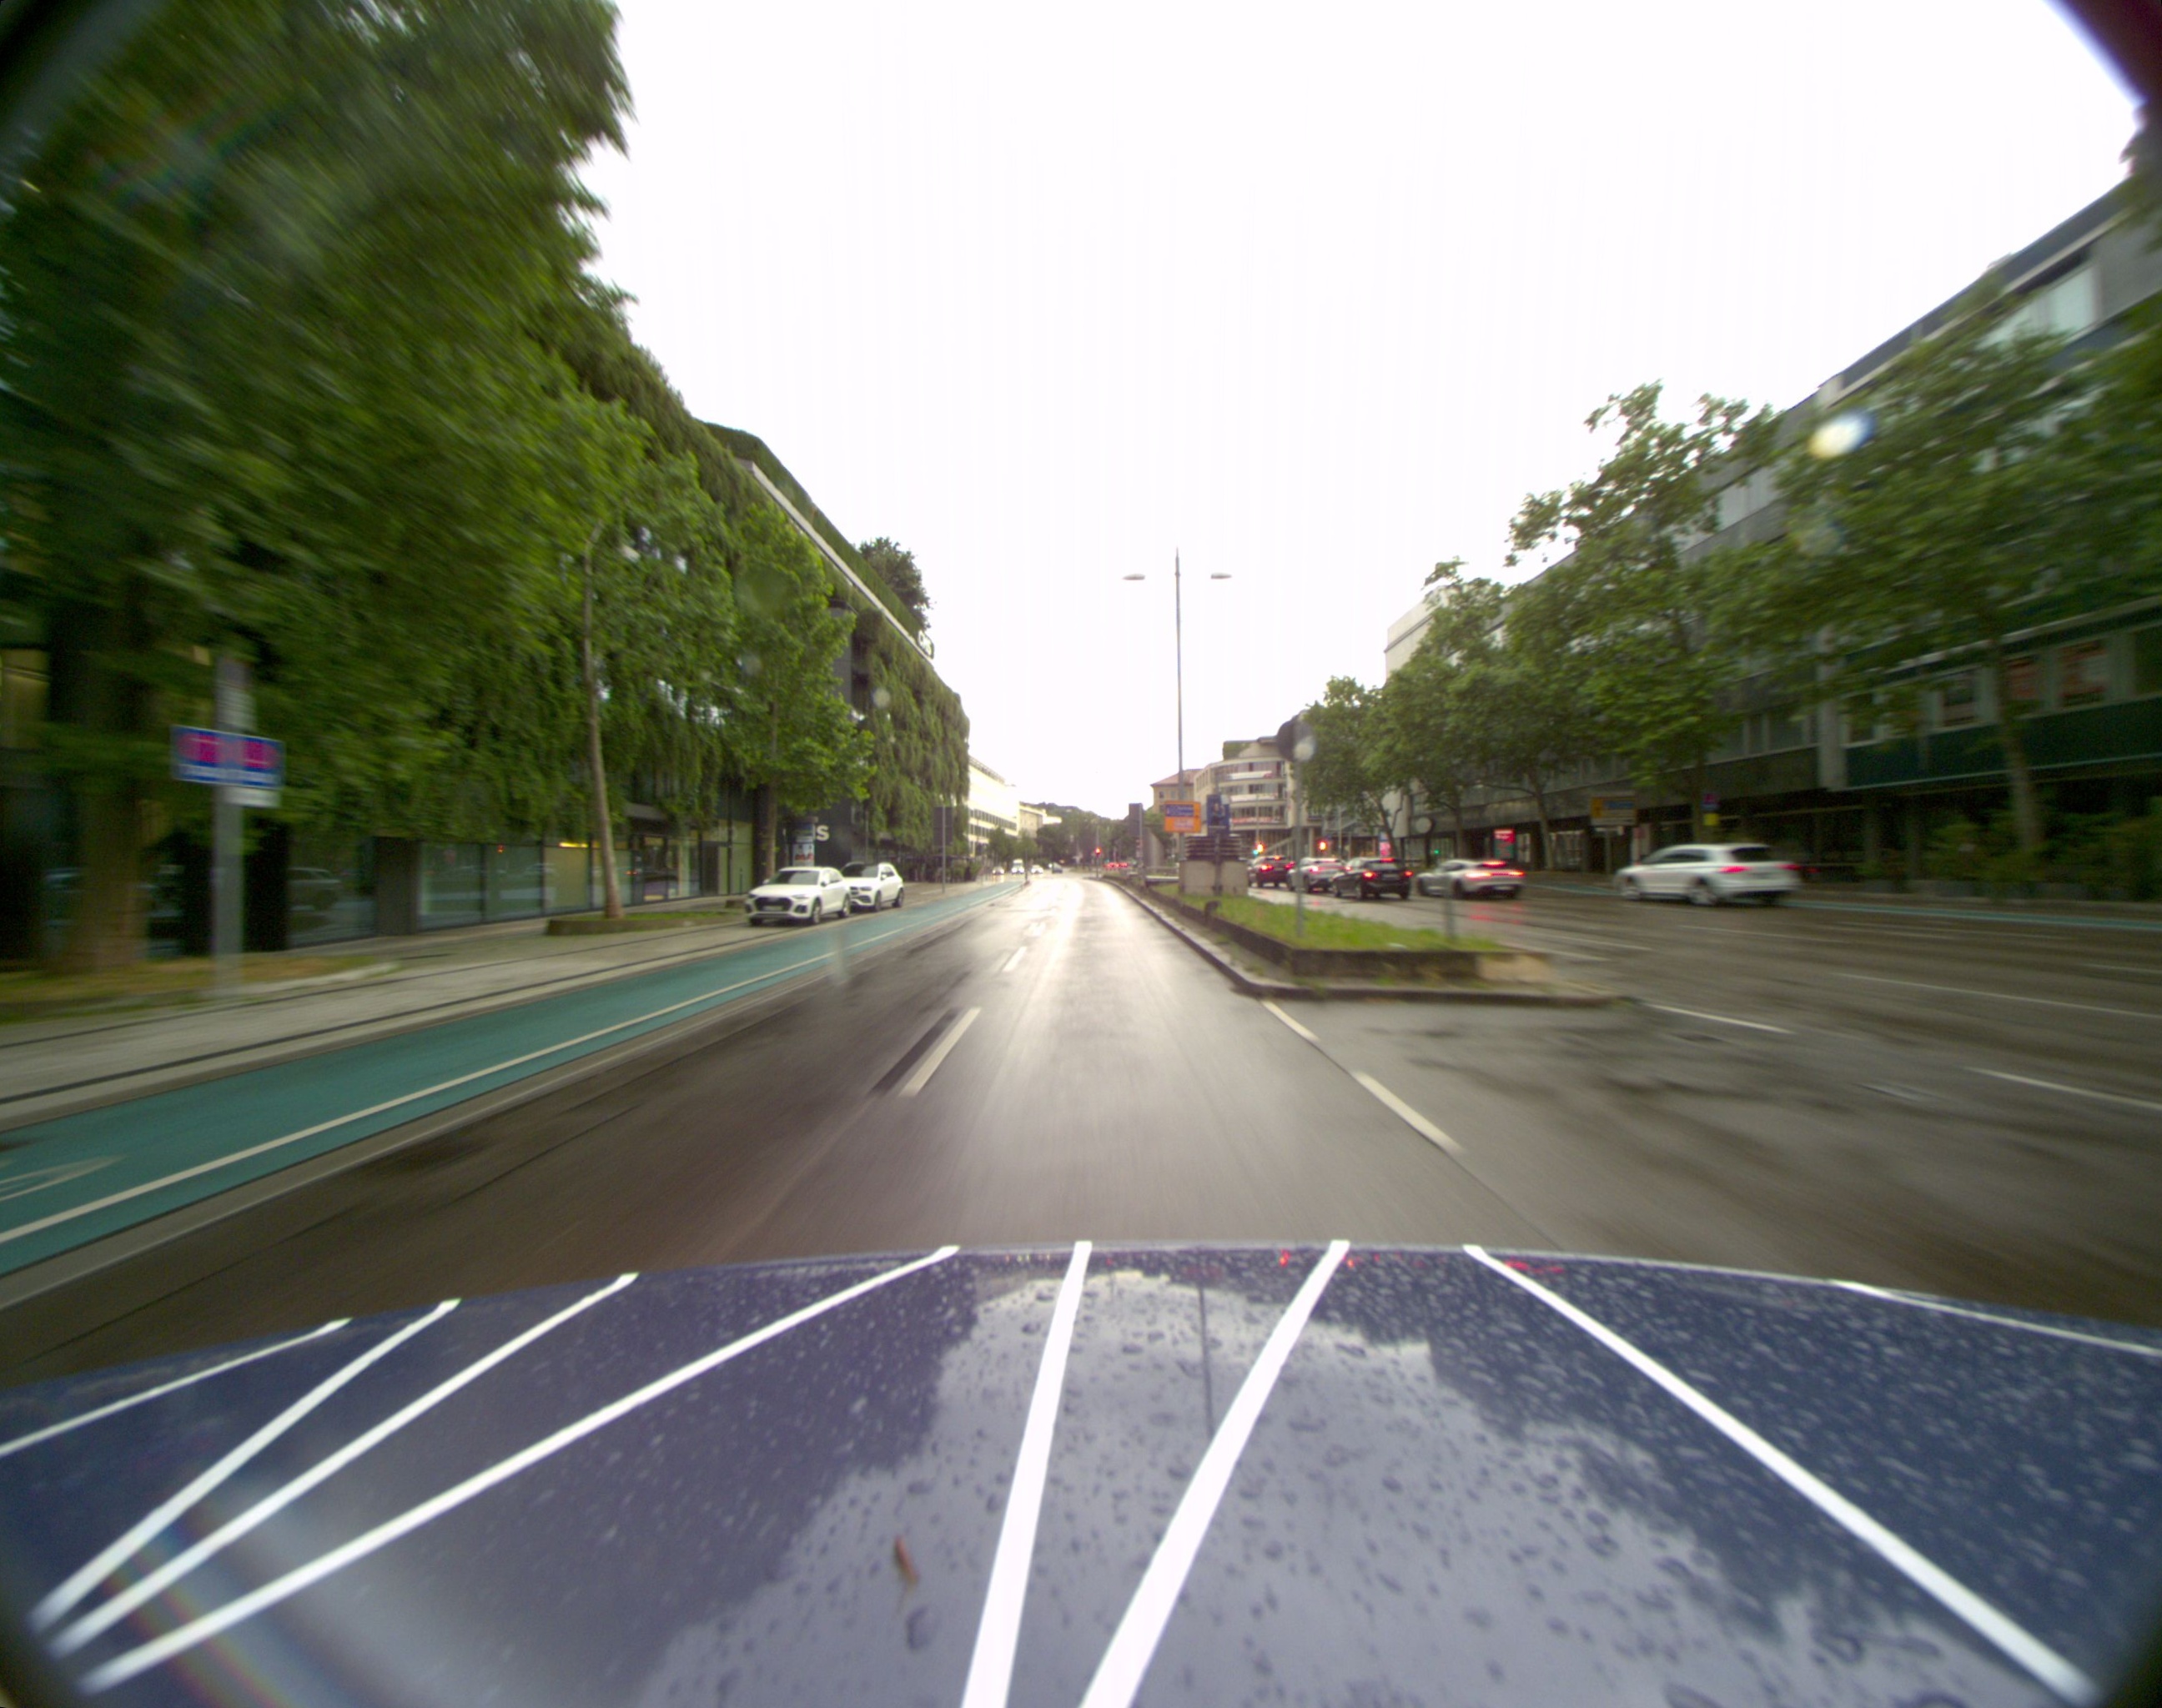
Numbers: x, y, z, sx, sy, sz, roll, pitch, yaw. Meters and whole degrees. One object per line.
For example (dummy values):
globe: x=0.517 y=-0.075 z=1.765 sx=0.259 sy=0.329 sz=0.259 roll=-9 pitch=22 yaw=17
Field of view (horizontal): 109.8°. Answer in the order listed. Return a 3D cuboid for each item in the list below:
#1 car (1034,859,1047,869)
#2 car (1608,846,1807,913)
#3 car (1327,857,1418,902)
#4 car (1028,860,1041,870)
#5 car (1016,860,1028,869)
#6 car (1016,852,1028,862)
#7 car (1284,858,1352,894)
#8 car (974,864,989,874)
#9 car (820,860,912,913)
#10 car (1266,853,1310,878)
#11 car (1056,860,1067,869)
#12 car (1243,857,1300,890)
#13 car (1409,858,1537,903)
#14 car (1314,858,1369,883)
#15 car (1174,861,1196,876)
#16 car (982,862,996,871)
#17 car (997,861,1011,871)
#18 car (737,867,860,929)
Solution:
car: x=-6.967 y=1.729 z=130.915 sx=1.978 sy=1.543 sz=4.671 roll=-1 pitch=0 yaw=1
car: x=17.055 y=0.670 z=21.046 sx=1.765 sy=1.605 sz=4.548 roll=-2 pitch=-1 yaw=1
car: x=10.904 y=0.930 z=28.784 sx=1.918 sy=1.543 sz=4.543 roll=-1 pitch=-1 yaw=3
car: x=-7.708 y=1.808 z=126.212 sx=1.739 sy=1.543 sz=4.671 roll=-1 pitch=0 yaw=1
car: x=-10.205 y=1.855 z=131.537 sx=1.739 sy=1.543 sz=4.671 roll=-1 pitch=0 yaw=1
car: x=-12.095 y=0.680 z=155.386 sx=1.998 sy=2.001 sz=4.000 roll=-1 pitch=-1 yaw=0
car: x=11.008 y=0.994 z=35.639 sx=1.739 sy=1.564 sz=4.832 roll=-1 pitch=-1 yaw=1
car: x=-16.514 y=2.430 z=126.316 sx=1.739 sy=1.543 sz=4.671 roll=-1 pitch=0 yaw=1
car: x=-8.030 y=1.170 z=28.906 sx=1.847 sy=1.827 sz=5.095 roll=0 pitch=-1 yaw=3
car: x=14.173 y=0.762 z=52.156 sx=1.758 sy=1.556 sz=3.999 roll=-2 pitch=0 yaw=-2
car: x=-3.360 y=1.728 z=129.250 sx=1.739 sy=1.543 sz=4.670 roll=-1 pitch=0 yaw=-3
car: x=10.740 y=1.073 z=43.313 sx=1.840 sy=1.756 sz=5.109 roll=-1 pitch=-1 yaw=-1
car: x=13.775 y=0.901 z=27.094 sx=1.971 sy=1.400 sz=4.957 roll=-1 pitch=-1 yaw=0
car: x=17.049 y=1.106 z=49.899 sx=1.896 sy=1.437 sz=4.590 roll=-1 pitch=-4 yaw=-2
car: x=10.051 y=1.398 z=73.667 sx=1.721 sy=1.467 sz=3.431 roll=-1 pitch=-1 yaw=0
car: x=-16.724 y=2.214 z=138.288 sx=1.739 sy=1.543 sz=4.671 roll=-1 pitch=0 yaw=1
car: x=-13.029 y=2.021 z=128.723 sx=1.739 sy=1.543 sz=4.671 roll=-1 pitch=0 yaw=1
car: x=-8.307 y=1.229 z=22.878 sx=1.848 sy=1.622 sz=4.787 roll=-1 pitch=-1 yaw=0
